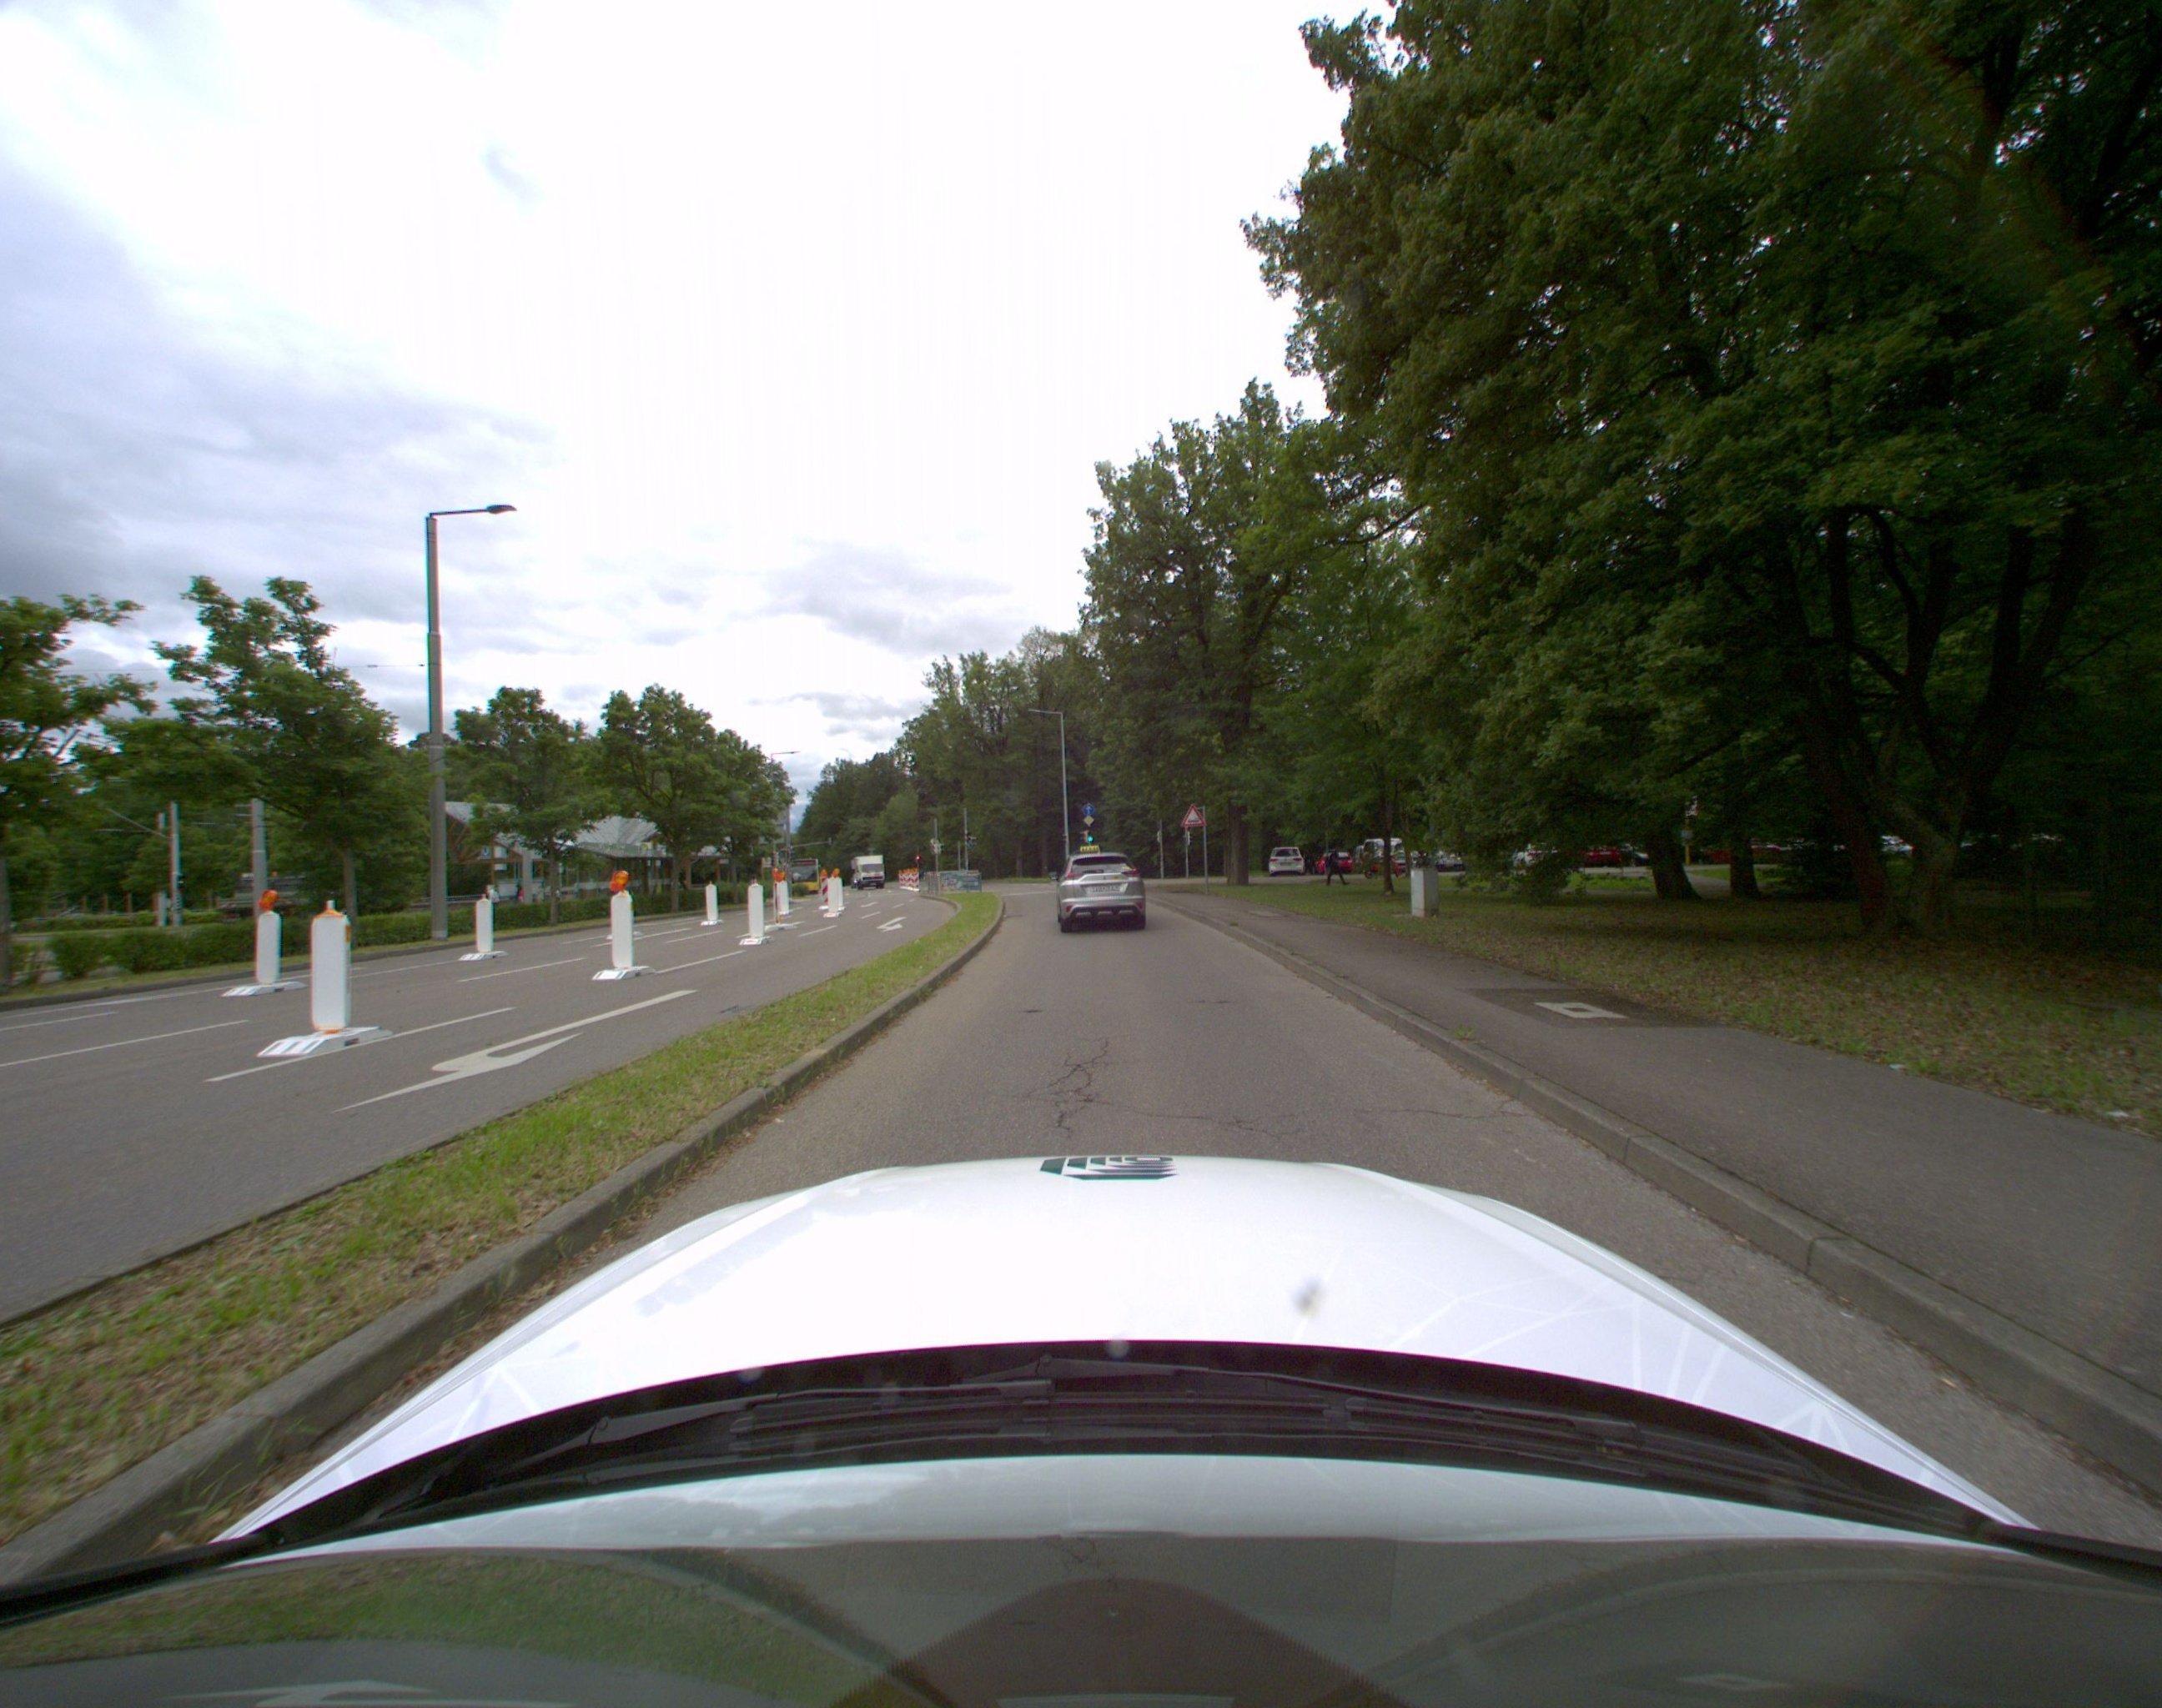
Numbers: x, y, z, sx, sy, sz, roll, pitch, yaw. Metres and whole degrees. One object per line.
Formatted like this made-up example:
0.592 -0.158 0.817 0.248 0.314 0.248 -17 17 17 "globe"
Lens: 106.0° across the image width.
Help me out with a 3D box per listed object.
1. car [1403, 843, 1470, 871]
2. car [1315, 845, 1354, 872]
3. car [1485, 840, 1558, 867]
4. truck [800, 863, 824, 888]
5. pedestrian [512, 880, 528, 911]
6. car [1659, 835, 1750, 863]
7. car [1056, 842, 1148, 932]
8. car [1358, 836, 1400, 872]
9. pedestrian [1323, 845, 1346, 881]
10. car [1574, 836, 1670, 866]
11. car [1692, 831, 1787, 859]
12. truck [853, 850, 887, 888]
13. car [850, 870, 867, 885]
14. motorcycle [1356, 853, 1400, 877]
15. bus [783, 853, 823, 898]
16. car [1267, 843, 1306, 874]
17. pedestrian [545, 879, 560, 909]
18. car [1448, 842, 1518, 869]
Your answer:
18.567 0.150 42.747 1.553 1.326 3.995 -2 0 -3 "car"
13.500 0.222 43.444 1.820 1.326 4.018 -2 0 17 "car"
23.082 -0.023 42.790 1.553 1.326 3.821 -2 0 -3 "car"
-38.912 3.083 117.500 2.495 3.287 8.452 -3 -2 -23 "truck"
-30.339 2.256 44.059 0.554 1.625 0.495 -2 0 36 "pedestrian"
31.643 -0.234 41.448 1.553 1.326 3.821 -2 0 -3 "car"
0.365 0.697 18.056 1.769 1.748 3.777 -1 -1 -2 "car"
15.789 -0.024 43.332 1.820 1.762 4.018 -2 0 17 "car"
10.650 0.371 34.214 0.834 1.506 0.794 -2 0 16 "pedestrian"
26.907 -0.155 40.557 3.806 1.326 1.559 -2 0 -4 "car"
33.313 -0.427 41.312 1.553 1.326 3.821 -2 0 -3 "car"
-20.255 1.432 77.921 2.491 3.286 8.466 -3 0 -18 "truck"
-24.613 2.577 90.028 1.561 1.528 3.800 -2 0 -20 "car"
13.753 0.507 37.741 1.815 1.057 0.617 -2 0 11 "motorcycle"
-25.276 1.850 73.656 2.832 3.603 12.712 -2 0 -21 "bus"
11.101 0.222 43.841 1.820 1.536 4.018 -2 0 17 "car"
-29.203 2.211 44.989 0.554 1.625 0.495 -2 0 36 "pedestrian"
20.824 0.079 42.381 1.553 1.326 3.821 -2 0 -3 "car"
